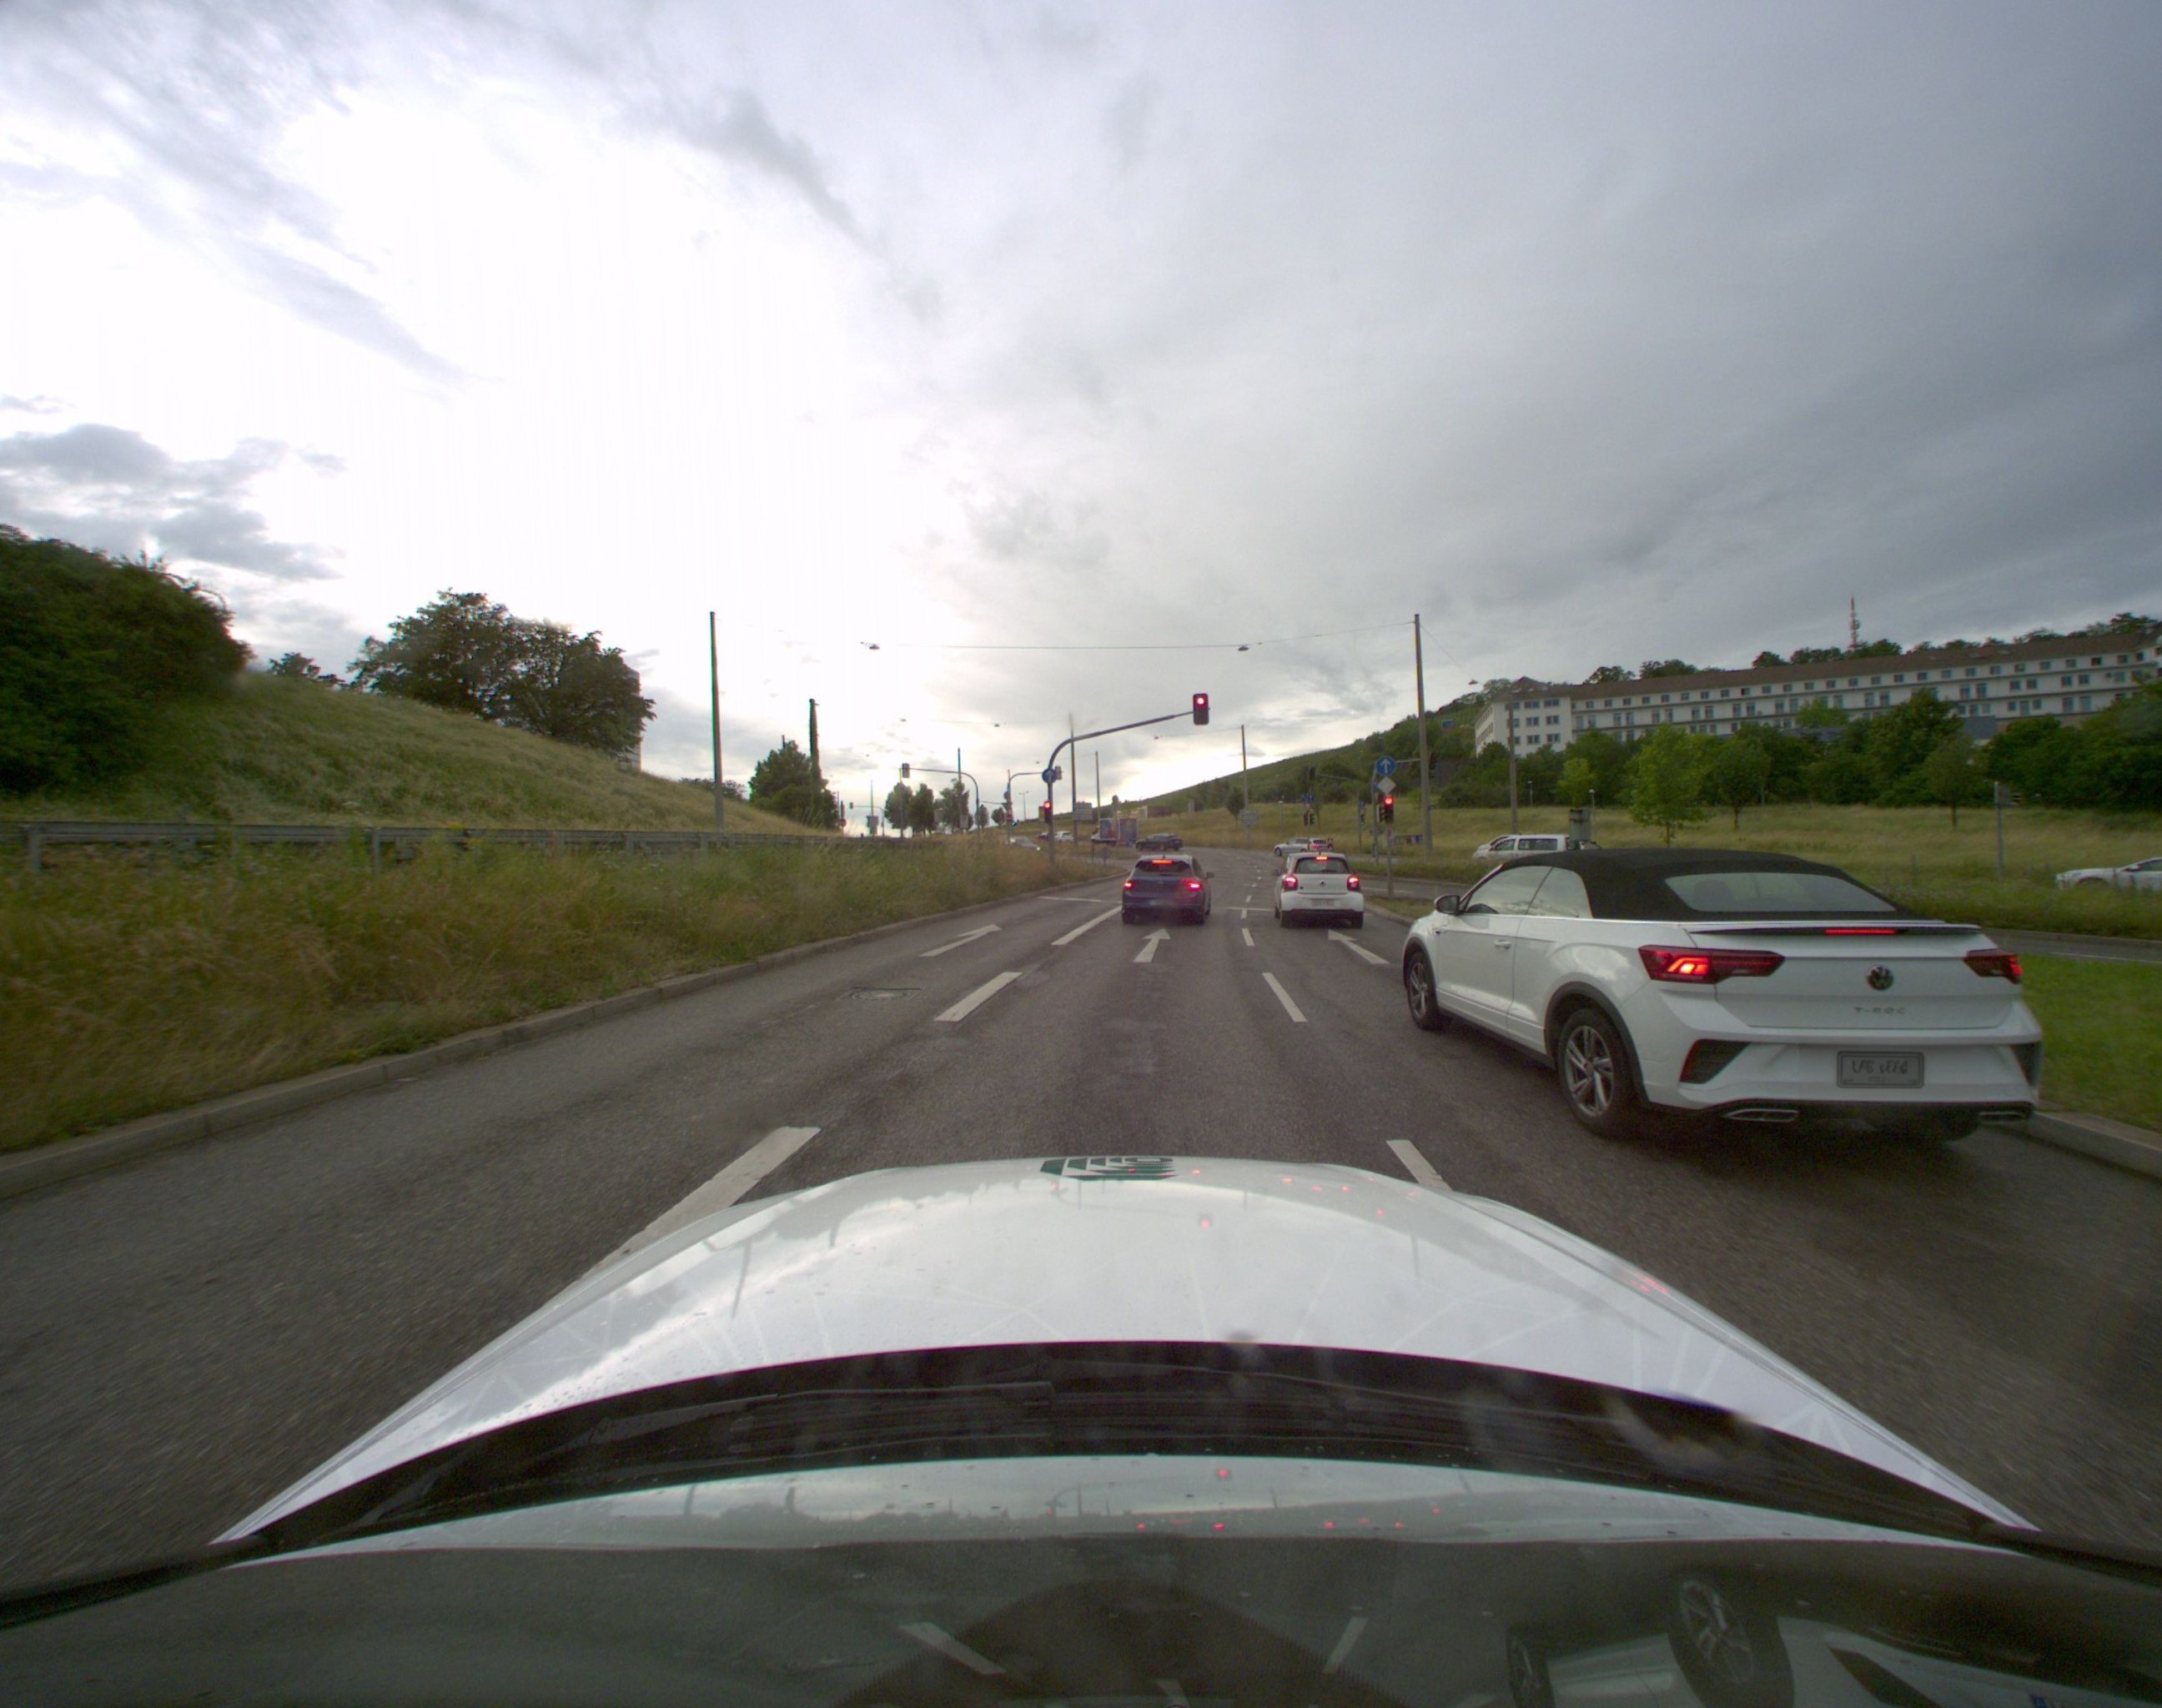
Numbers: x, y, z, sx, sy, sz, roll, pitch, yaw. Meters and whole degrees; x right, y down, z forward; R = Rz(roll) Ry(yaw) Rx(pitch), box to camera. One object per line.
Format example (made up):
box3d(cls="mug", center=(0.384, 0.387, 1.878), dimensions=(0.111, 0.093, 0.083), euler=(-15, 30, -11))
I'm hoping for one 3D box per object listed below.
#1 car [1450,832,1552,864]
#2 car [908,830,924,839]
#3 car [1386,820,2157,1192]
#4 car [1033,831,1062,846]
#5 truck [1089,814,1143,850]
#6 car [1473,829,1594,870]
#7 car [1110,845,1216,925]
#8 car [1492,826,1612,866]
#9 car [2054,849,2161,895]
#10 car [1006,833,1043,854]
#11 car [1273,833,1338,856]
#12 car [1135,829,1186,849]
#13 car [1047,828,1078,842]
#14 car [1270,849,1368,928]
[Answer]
box3d(cls="car", center=(23.584, -0.398, 45.965), dimensions=(2.005, 1.693, 4.852), euler=(-1, 2, -28))
box3d(cls="car", center=(-33.186, -3.892, 163.556), dimensions=(2.005, 1.711, 4.522), euler=(-3, 1, -28))
box3d(cls="car", center=(3.745, 0.641, 5.594), dimensions=(1.987, 1.578, 4.130), euler=(0, 0, 4))
box3d(cls="car", center=(-4.338, -2.040, 106.237), dimensions=(2.005, 1.711, 4.523), euler=(-3, 3, -28))
box3d(cls="truck", center=(3.563, -2.323, 84.564), dimensions=(2.863, 3.526, 6.182), euler=(-3, 3, -26))
box3d(cls="car", center=(20.819, -0.271, 37.646), dimensions=(2.008, 1.711, 4.517), euler=(-4, 4, -33))
box3d(cls="car", center=(1.984, 0.648, 18.618), dimensions=(1.913, 1.599, 4.075), euler=(-2, -1, 12))
box3d(cls="car", center=(22.614, -0.454, 39.254), dimensions=(2.008, 1.711, 4.618), euler=(-4, 4, -33))
box3d(cls="car", center=(34.354, 0.587, 25.773), dimensions=(1.880, 1.289, 4.322), euler=(-4, 4, -30))
box3d(cls="car", center=(-4.439, -0.849, 63.567), dimensions=(1.864, 1.572, 3.857), euler=(2, 1, -19))
box3d(cls="car", center=(16.406, -0.728, 59.807), dimensions=(2.006, 1.605, 4.520), euler=(-2, 3, -30))
box3d(cls="car", center=(7.053, -1.373, 72.650), dimensions=(2.010, 1.711, 4.512), euler=(-4, 4, -38))
box3d(cls="car", center=(-2.210, -2.298, 97.028), dimensions=(2.003, 1.500, 4.527), euler=(-3, 3, -24))
box3d(cls="car", center=(5.069, 0.652, 17.760), dimensions=(1.763, 1.519, 3.737), euler=(0, 0, 12))
